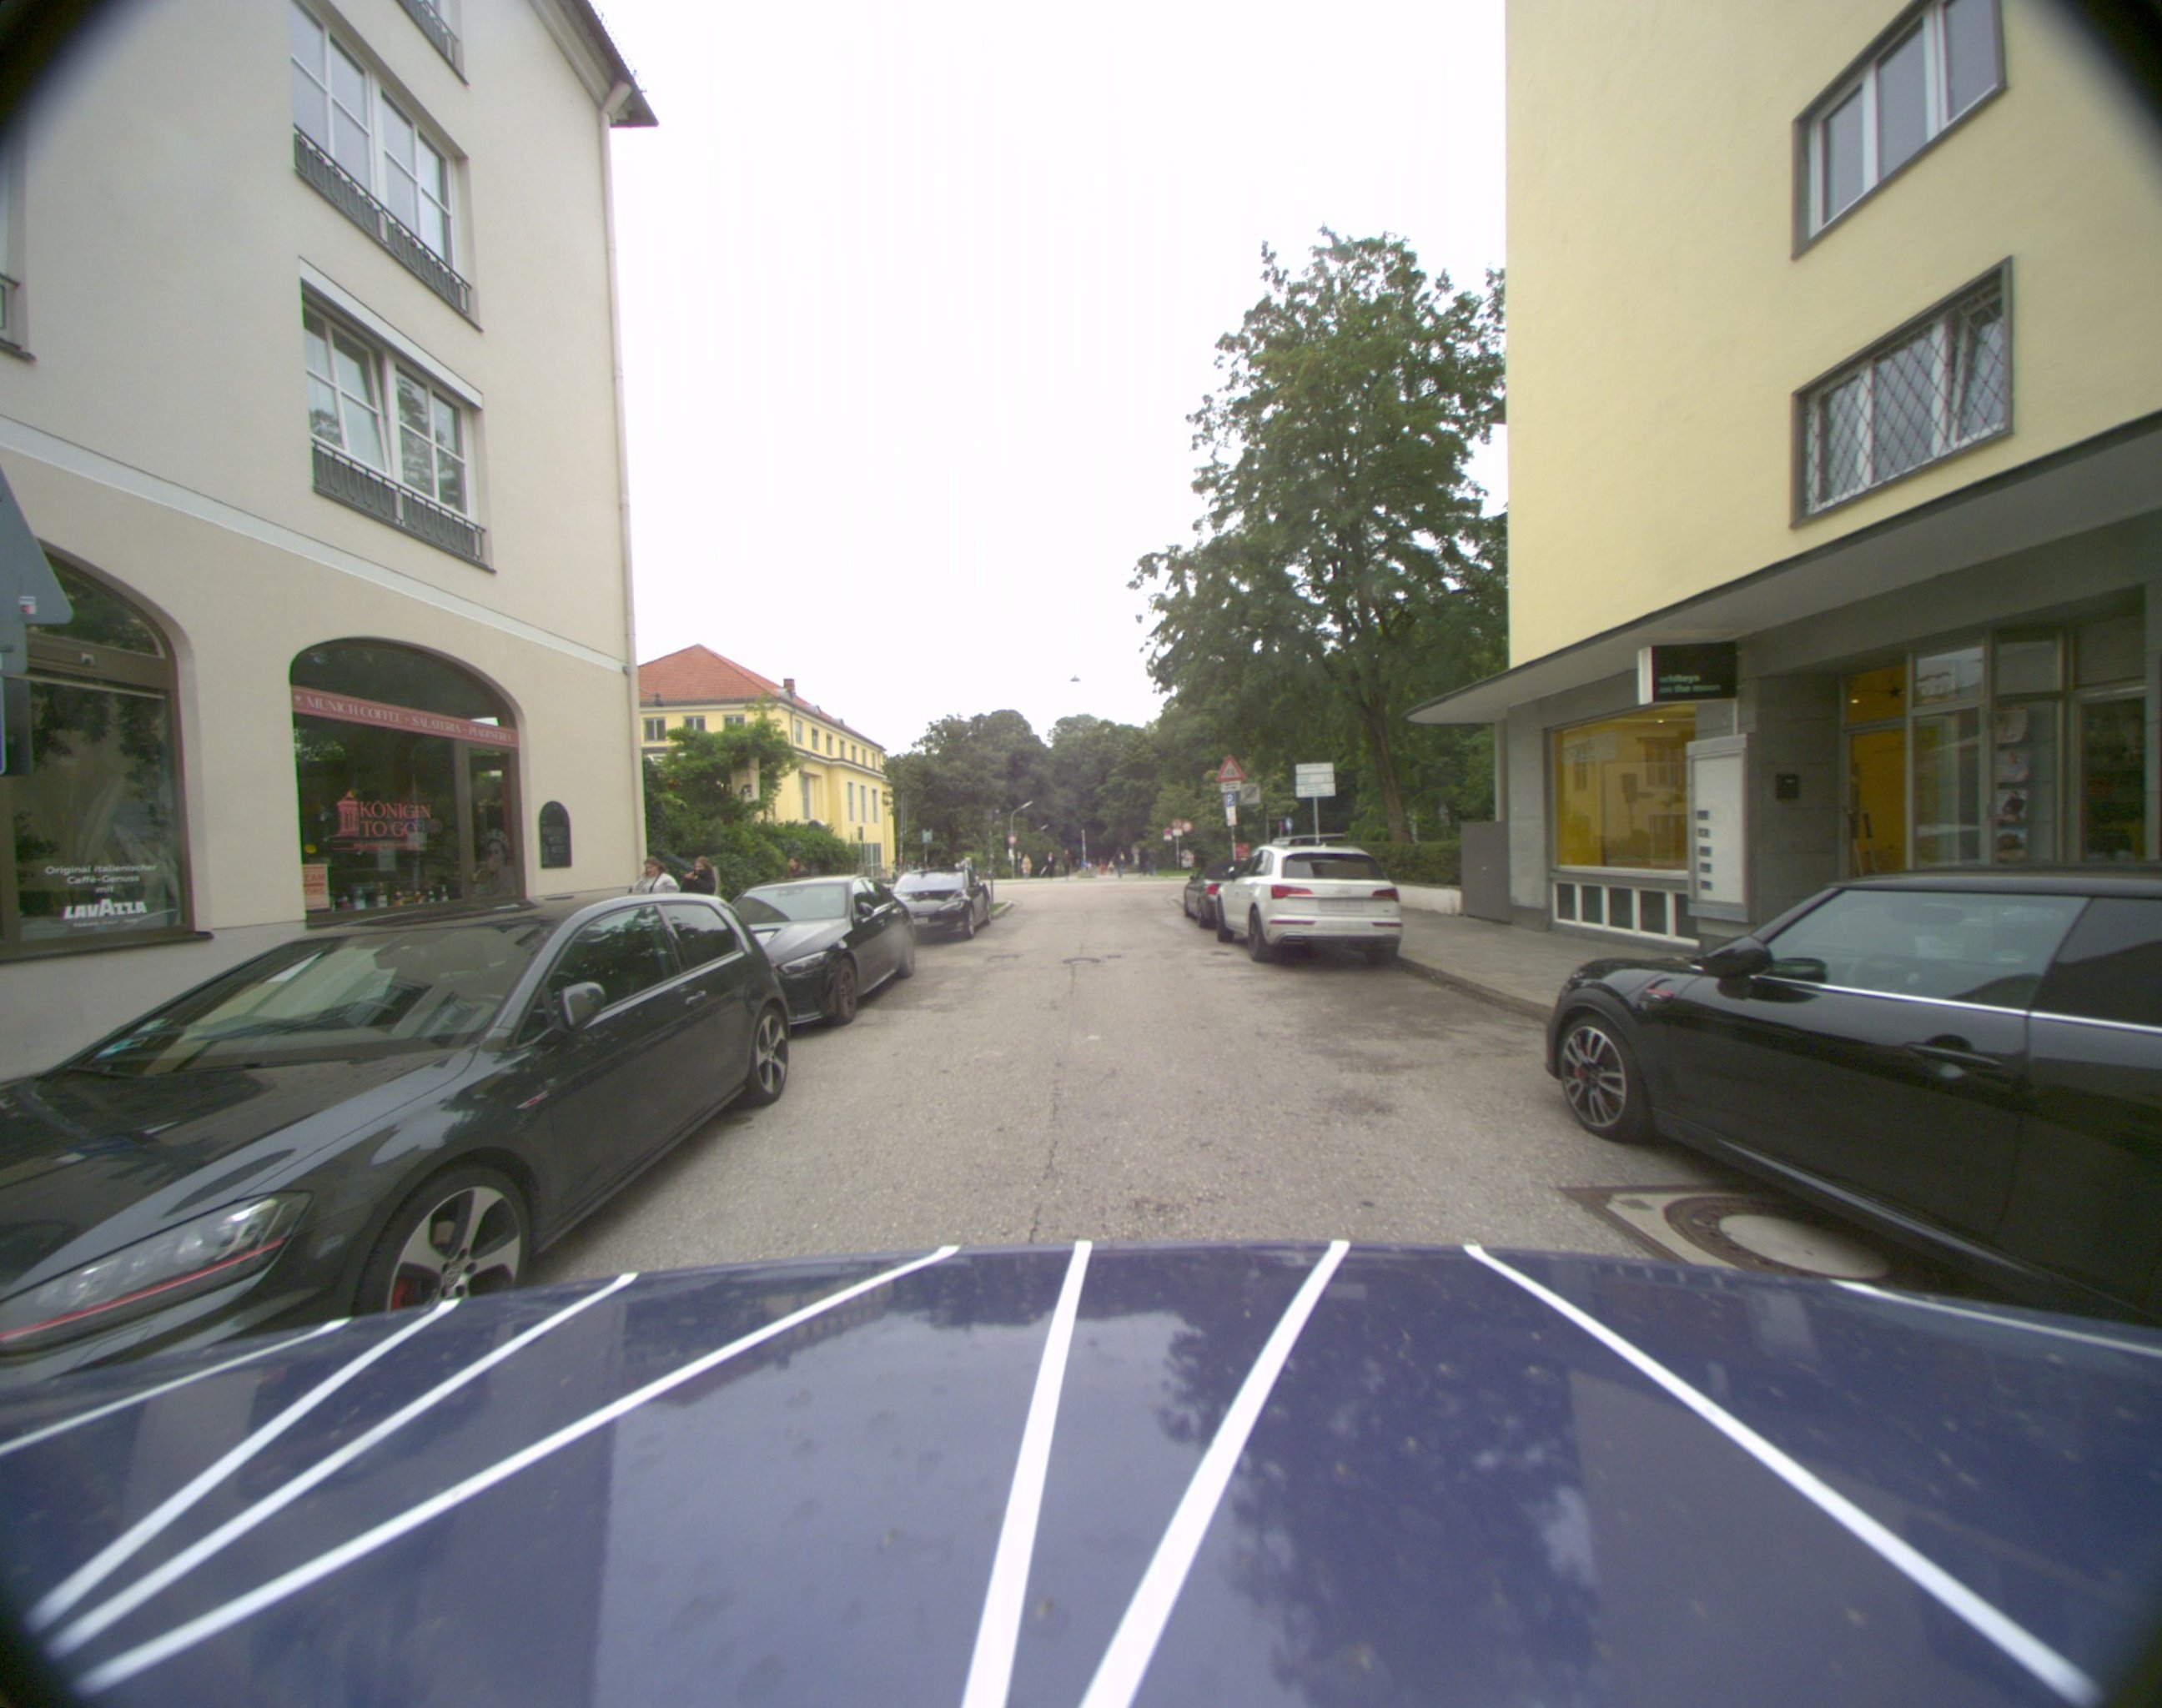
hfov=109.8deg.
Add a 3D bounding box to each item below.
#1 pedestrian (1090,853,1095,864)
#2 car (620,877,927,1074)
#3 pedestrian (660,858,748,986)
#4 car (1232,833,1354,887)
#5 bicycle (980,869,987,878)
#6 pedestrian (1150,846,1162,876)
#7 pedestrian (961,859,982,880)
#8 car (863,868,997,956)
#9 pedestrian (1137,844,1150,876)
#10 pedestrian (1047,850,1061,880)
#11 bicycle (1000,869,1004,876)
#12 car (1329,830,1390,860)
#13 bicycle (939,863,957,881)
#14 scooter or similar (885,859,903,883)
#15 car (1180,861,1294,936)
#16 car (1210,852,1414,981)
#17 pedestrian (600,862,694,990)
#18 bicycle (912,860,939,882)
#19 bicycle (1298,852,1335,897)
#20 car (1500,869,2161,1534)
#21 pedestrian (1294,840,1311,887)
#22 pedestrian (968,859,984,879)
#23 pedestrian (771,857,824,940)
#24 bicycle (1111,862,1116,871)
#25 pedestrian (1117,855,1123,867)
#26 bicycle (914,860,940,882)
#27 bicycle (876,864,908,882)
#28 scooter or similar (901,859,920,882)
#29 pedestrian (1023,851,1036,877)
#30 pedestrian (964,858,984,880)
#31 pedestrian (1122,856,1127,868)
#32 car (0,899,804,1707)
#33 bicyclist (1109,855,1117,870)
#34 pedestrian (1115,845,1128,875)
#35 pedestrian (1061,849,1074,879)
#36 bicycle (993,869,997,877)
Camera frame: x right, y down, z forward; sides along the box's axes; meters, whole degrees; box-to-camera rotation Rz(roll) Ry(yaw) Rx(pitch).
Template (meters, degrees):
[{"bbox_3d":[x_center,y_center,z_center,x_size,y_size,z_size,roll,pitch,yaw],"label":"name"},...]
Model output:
[{"bbox_3d":[1.739,0.643,118.040,0.686,1.662,0.774,-3,-2,1],"label":"pedestrian"},{"bbox_3d":[-3.073,1.102,8.737,1.650,1.417,4.508,-4,0,-1],"label":"car"},{"bbox_3d":[-5.204,0.912,10.553,0.706,1.652,0.880,-2,3,-1],"label":"pedestrian"},{"bbox_3d":[8.665,0.193,31.209,4.422,1.990,1.933,-2,2,-14],"label":"car"},{"bbox_3d":[-7.357,1.443,57.481,0.215,0.671,0.910,0,-1,12],"label":"bicycle"},{"bbox_3d":[4.478,0.413,45.557,0.634,1.771,0.801,-1,-1,1],"label":"pedestrian"},{"bbox_3d":[-6.799,0.974,47.161,1.217,1.240,0.639,-3,-2,-10],"label":"pedestrian"},{"bbox_3d":[-2.992,1.098,16.132,1.807,1.402,4.656,-3,0,1],"label":"car"},{"bbox_3d":[3.759,0.350,45.524,0.707,1.892,0.804,-1,-1,1],"label":"pedestrian"},{"bbox_3d":[-1.546,0.622,43.822,0.686,1.662,0.774,-3,-2,1],"label":"pedestrian"},{"bbox_3d":[-7.137,1.664,69.018,0.242,0.653,0.909,0,-1,1],"label":"bicycle"},{"bbox_3d":[21.095,-0.657,57.615,3.958,2.093,1.908,-2,2,31],"label":"car"},{"bbox_3d":[-7.744,1.060,44.292,0.307,1.032,1.656,0,-1,15],"label":"bicycle"},{"bbox_3d":[-9.941,0.901,40.476,0.396,1.240,1.391,-1,0,9],"label":"scooter or similar"},{"bbox_3d":[3.333,0.895,16.993,1.750,1.402,4.097,-1,0,1],"label":"car"},{"bbox_3d":[3.222,0.795,11.546,1.807,1.574,4.338,-1,0,1],"label":"car"},{"bbox_3d":[-5.968,0.963,10.506,0.706,1.652,0.880,-2,3,-1],"label":"pedestrian"},{"bbox_3d":[-8.711,0.955,42.545,0.202,1.184,1.658,-1,-1,42],"label":"bicycle"},{"bbox_3d":[6.901,0.580,22.369,0.563,1.203,1.854,-3,1,3],"label":"bicycle"},{"bbox_3d":[3.409,0.857,2.677,1.683,1.463,4.097,-1,1,1],"label":"car"},{"bbox_3d":[8.660,0.377,29.644,0.560,1.788,0.641,-2,-1,18],"label":"pedestrian"},{"bbox_3d":[-6.748,0.969,48.757,0.887,1.227,0.550,-3,-2,-10],"label":"pedestrian"},{"bbox_3d":[-5.843,0.899,15.703,0.706,1.613,0.880,-2,3,-1],"label":"pedestrian"},{"bbox_3d":[4.045,1.542,94.233,0.483,1.035,1.946,-1,0,3],"label":"bicycle"},{"bbox_3d":[5.622,1.029,110.087,0.686,1.662,0.774,-3,-2,1],"label":"pedestrian"},{"bbox_3d":[-8.573,0.945,42.403,0.169,1.191,1.658,-1,-1,42],"label":"bicycle"},{"bbox_3d":[-10.287,1.031,41.361,1.656,0.987,0.248,0,-1,-23],"label":"bicycle"},{"bbox_3d":[-9.100,0.903,40.567,1.114,1.206,0.324,-1,0,37],"label":"scooter or similar"},{"bbox_3d":[-3.493,0.676,51.651,0.653,1.676,0.976,-3,-2,1],"label":"pedestrian"},{"bbox_3d":[-6.772,0.963,48.104,1.178,1.285,0.639,-3,-2,-10],"label":"pedestrian"},{"bbox_3d":[6.380,1.155,111.302,0.686,1.662,0.774,-3,-2,1],"label":"pedestrian"},{"bbox_3d":[-2.812,1.093,3.293,1.680,1.417,4.202,-4,0,-2],"label":"car"},{"bbox_3d":[4.003,1.061,94.218,0.856,1.792,0.766,-3,1,1],"label":"bicyclist"},{"bbox_3d":[2.443,0.369,45.937,0.751,1.822,1.115,-1,-1,1],"label":"pedestrian"},{"bbox_3d":[-0.785,0.592,44.097,0.639,1.662,0.774,-3,-2,1],"label":"pedestrian"},{"bbox_3d":[-7.297,1.595,64.479,0.215,0.671,0.909,0,-1,3],"label":"bicycle"}]
